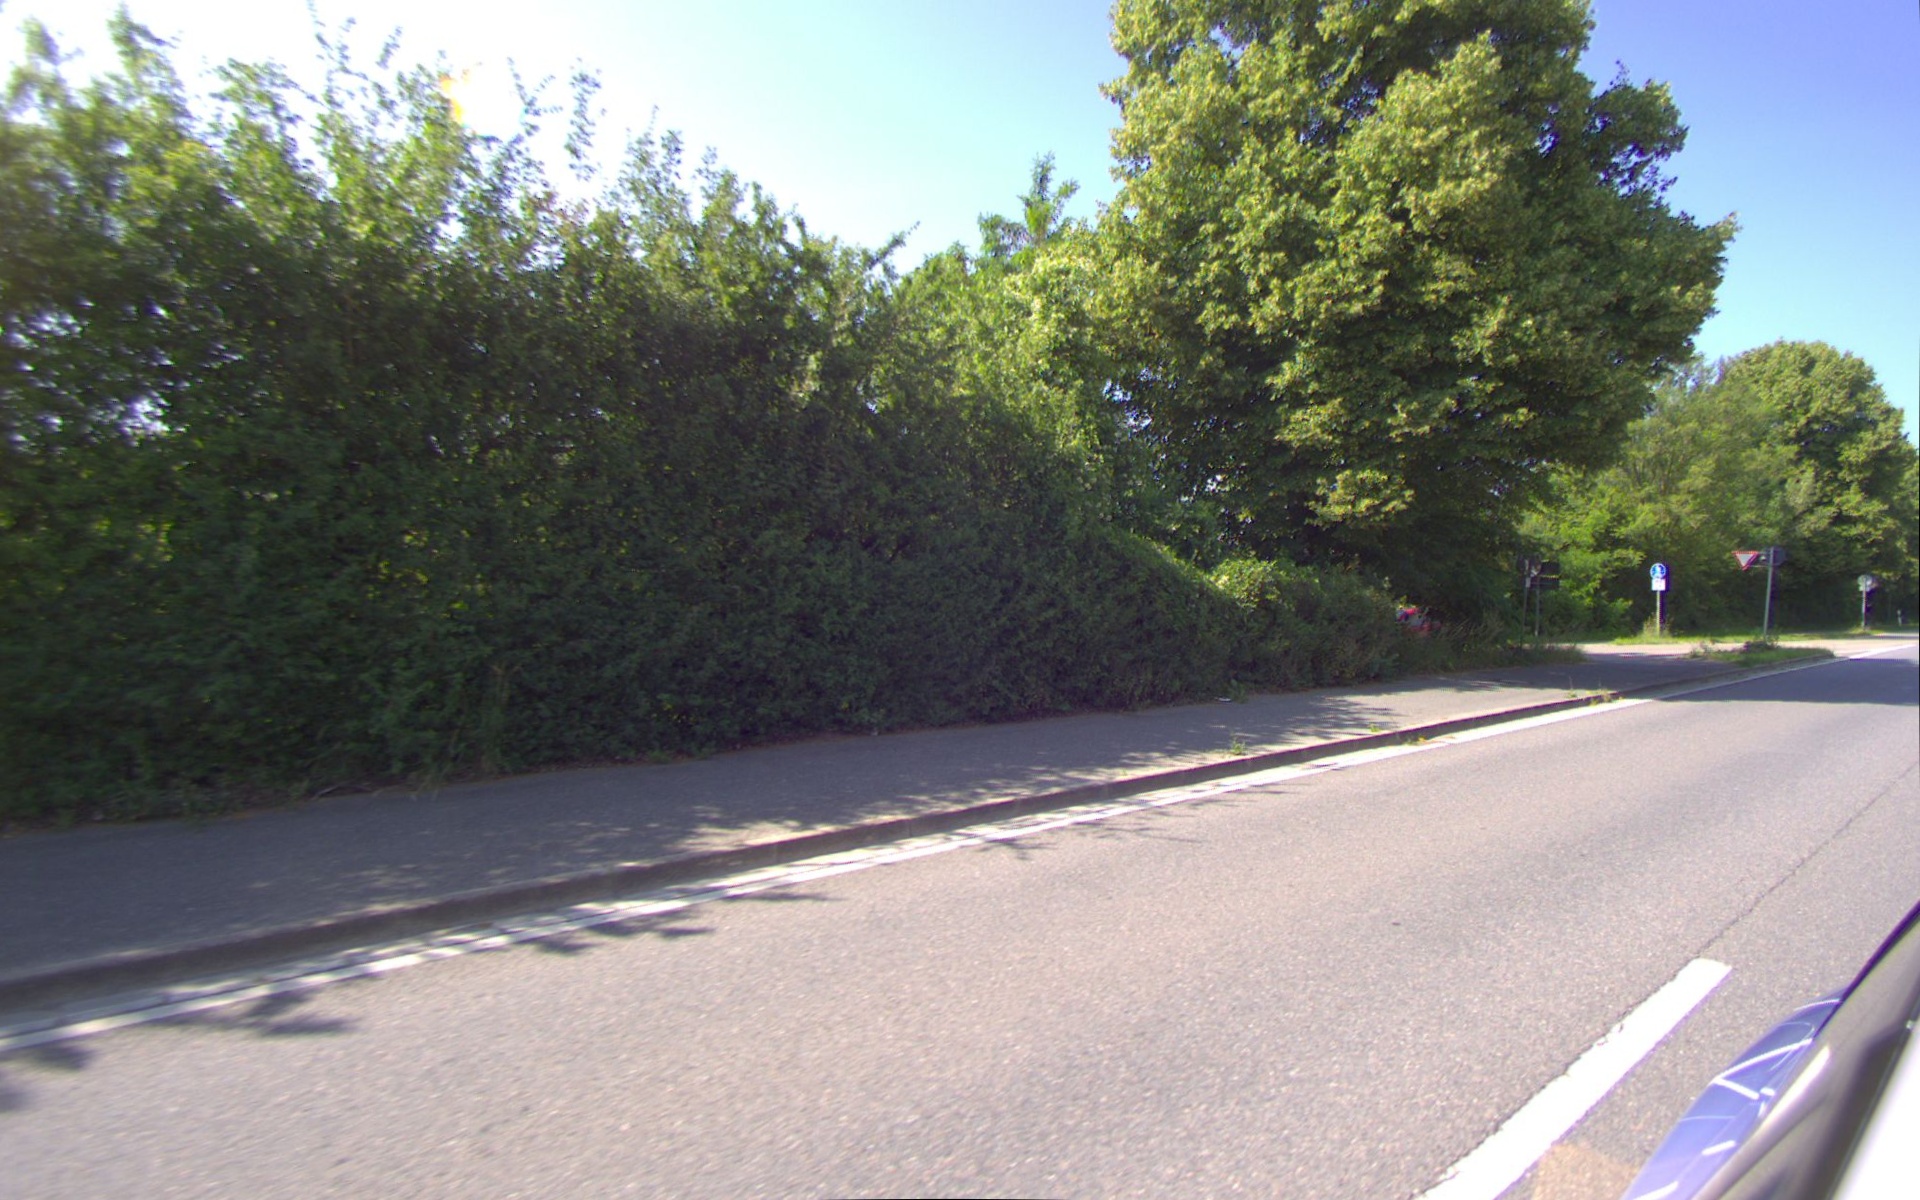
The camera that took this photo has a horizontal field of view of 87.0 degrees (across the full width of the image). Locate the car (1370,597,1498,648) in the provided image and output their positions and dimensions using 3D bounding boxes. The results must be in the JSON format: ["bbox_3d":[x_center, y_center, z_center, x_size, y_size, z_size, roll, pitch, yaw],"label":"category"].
[{"bbox_3d":[15.123,0.688,32.310,3.493,1.471,1.554,-1,2,-15],"label":"car"}]
